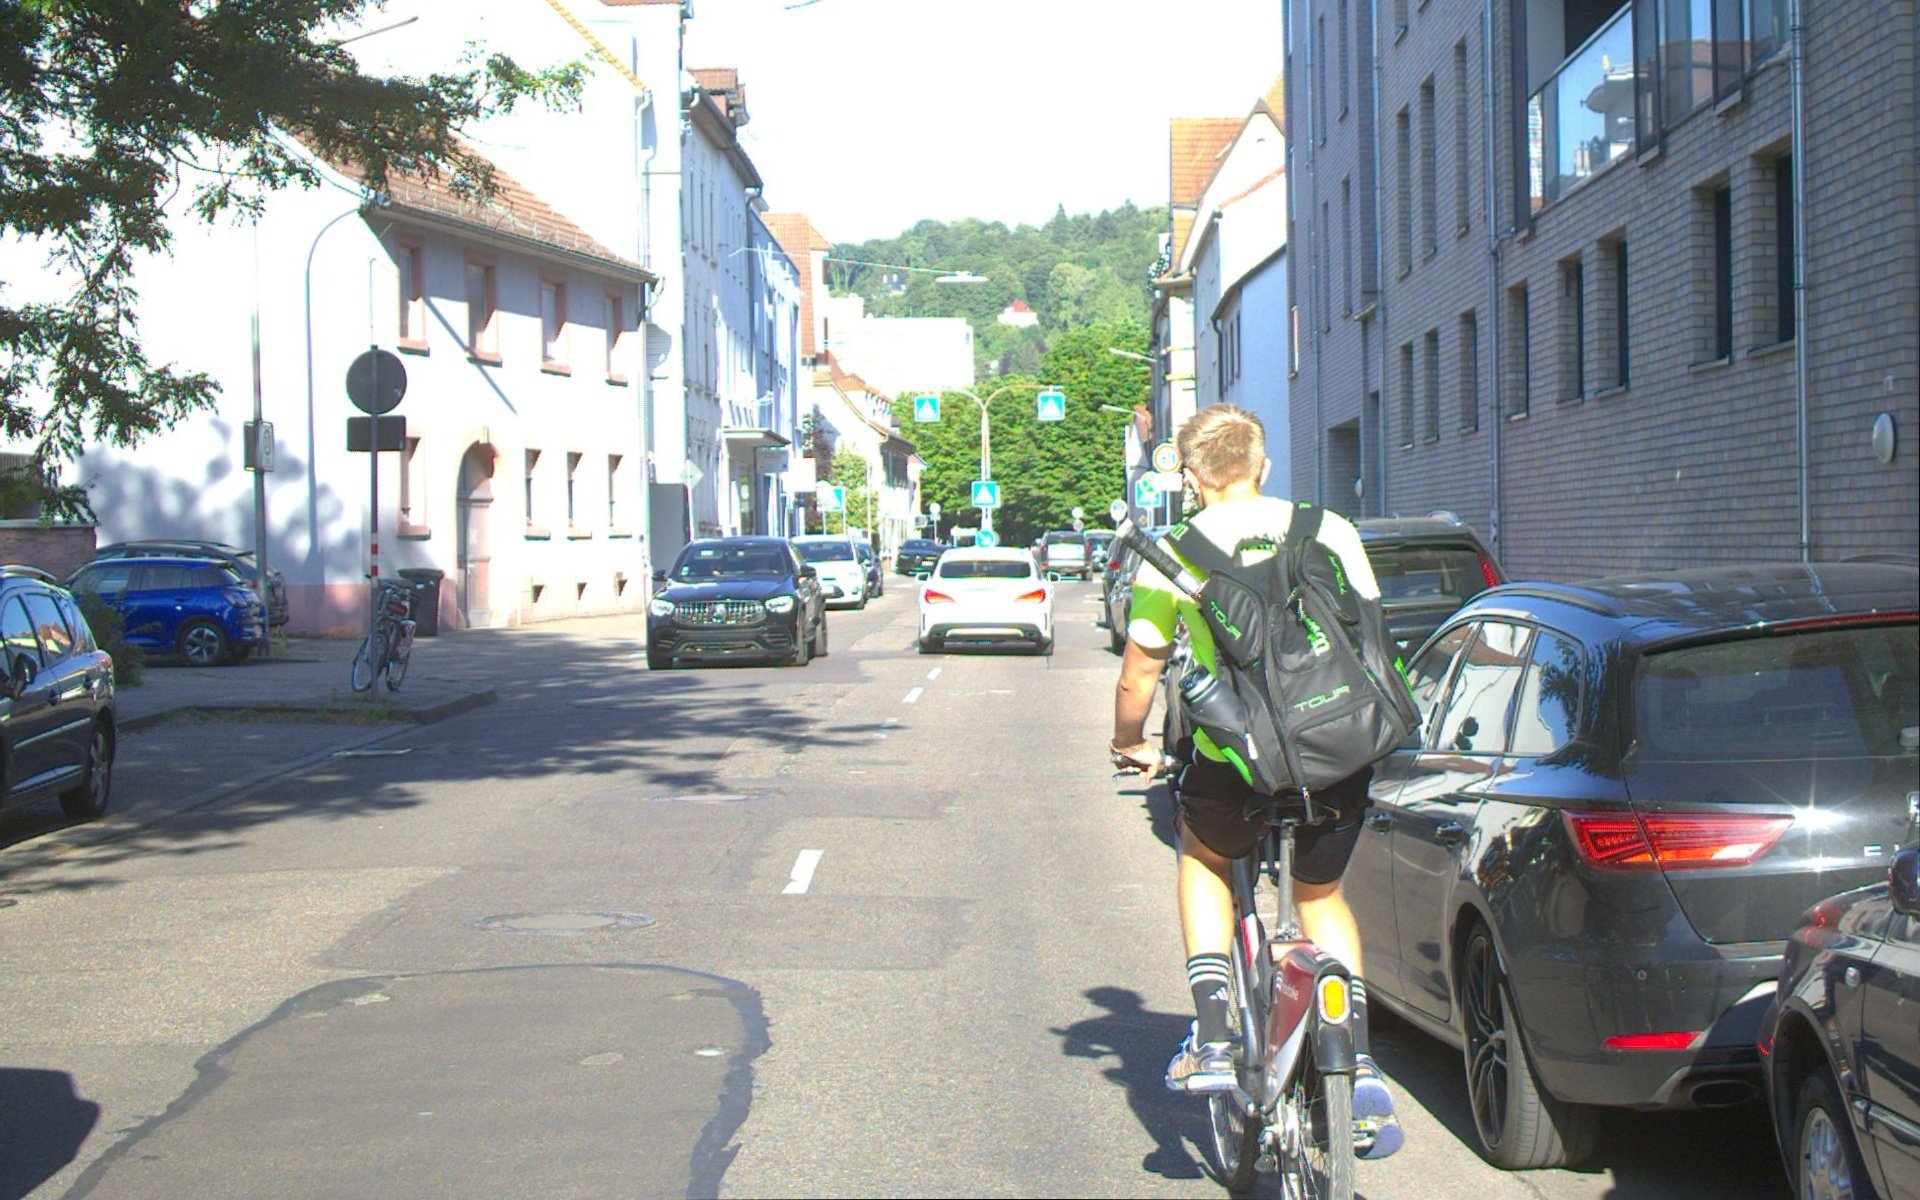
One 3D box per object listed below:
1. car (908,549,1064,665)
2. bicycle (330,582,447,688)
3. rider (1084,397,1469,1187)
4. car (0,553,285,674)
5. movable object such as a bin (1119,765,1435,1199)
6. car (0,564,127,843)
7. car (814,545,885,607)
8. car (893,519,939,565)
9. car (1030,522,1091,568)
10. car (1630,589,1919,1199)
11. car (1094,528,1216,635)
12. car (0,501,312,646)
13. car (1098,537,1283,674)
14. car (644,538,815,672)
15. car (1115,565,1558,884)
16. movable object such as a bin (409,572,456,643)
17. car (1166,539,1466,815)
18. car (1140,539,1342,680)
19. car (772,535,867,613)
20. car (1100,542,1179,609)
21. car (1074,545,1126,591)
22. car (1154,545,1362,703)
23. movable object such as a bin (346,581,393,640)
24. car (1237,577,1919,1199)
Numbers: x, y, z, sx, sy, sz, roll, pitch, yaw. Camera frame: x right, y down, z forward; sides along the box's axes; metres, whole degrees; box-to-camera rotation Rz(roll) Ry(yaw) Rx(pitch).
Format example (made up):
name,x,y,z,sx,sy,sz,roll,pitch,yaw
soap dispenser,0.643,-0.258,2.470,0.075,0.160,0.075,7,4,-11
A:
name,x,y,z,sx,sy,sz,roll,pitch,yaw
car,0.308,0.062,46.169,1.993,1.461,4.000,-1,1,-1
bicycle,-5.663,0.334,34.182,0.704,0.999,1.941,1,1,4
rider,0.656,0.388,7.440,0.653,1.556,1.083,3,-1,-1
car,-11.315,0.170,46.872,3.767,1.524,2.000,-1,2,2
movable object such as a bin,0.656,0.926,7.562,0.454,1.029,1.840,3,0,-1
car,-5.994,0.553,19.293,1.696,1.486,4.000,-1,1,-1
car,-2.929,-0.621,91.834,1.731,1.494,3.958,-1,-2,0
car,-1.913,-2.571,151.558,1.993,2.007,4.000,0,1,0
car,3.318,-1.812,113.674,1.993,1.461,4.000,-1,1,2
car,2.377,0.750,5.247,1.663,1.511,4.219,-2,1,-3
car,3.244,-0.351,57.822,1.855,1.630,4.623,-3,1,2
car,-11.960,-0.414,50.584,4.363,1.788,1.988,3,4,3
car,2.945,0.023,44.917,1.993,1.647,4.763,0,2,-1
car,-2.831,0.035,43.053,1.939,1.570,4.319,-1,1,-1
car,1.860,0.562,18.254,1.816,1.461,4.270,-1,1,-1
movable object such as a bin,-8.295,0.115,54.100,0.598,1.090,0.751,1,1,2
car,2.471,0.449,24.231,1.890,1.706,4.773,0,2,5
car,3.190,0.065,39.801,1.993,1.500,4.367,0,1,0
car,-3.039,-0.595,75.290,1.993,1.642,5.222,0,1,-1
car,4.214,-0.604,81.193,1.741,1.487,4.438,-2,1,2
car,5.927,-1.380,145.939,2.011,1.846,4.000,1,1,0
car,2.962,0.197,34.885,1.712,1.399,4.073,-4,1,1
movable object such as a bin,-9.108,0.158,53.011,0.598,0.869,0.606,-2,1,-1
car,1.983,0.706,9.883,1.696,1.462,4.721,-2,1,-3
